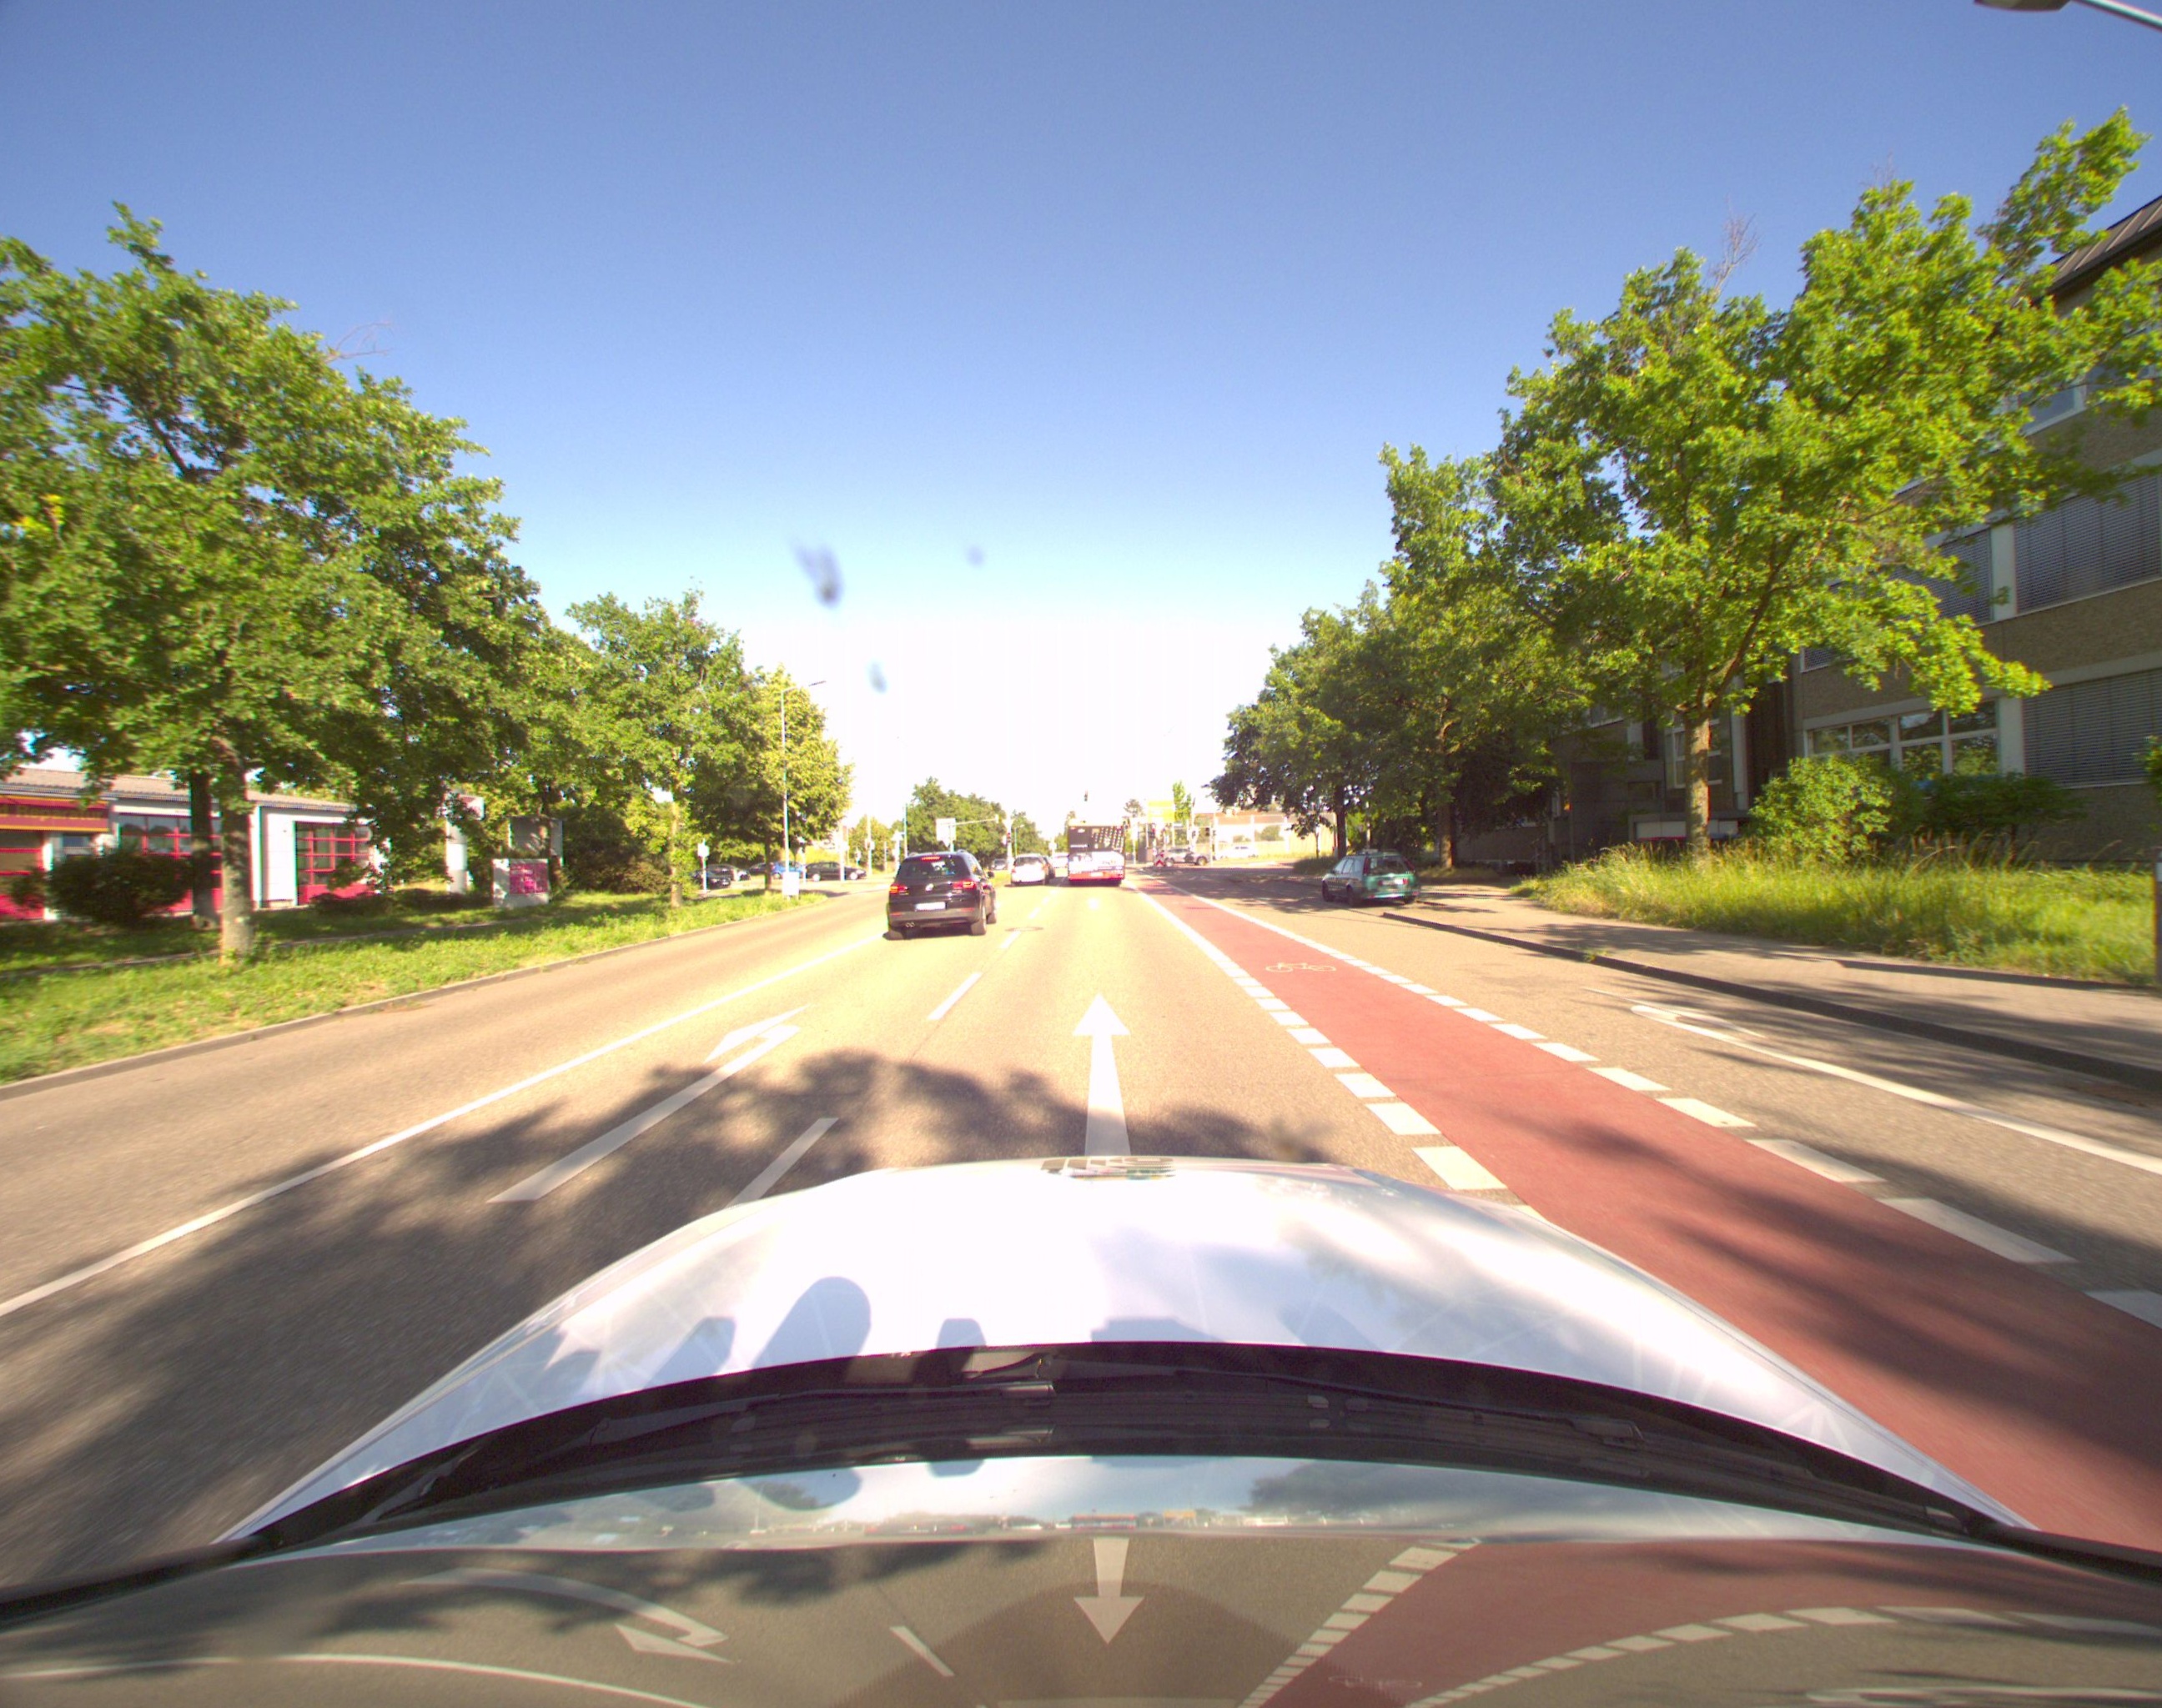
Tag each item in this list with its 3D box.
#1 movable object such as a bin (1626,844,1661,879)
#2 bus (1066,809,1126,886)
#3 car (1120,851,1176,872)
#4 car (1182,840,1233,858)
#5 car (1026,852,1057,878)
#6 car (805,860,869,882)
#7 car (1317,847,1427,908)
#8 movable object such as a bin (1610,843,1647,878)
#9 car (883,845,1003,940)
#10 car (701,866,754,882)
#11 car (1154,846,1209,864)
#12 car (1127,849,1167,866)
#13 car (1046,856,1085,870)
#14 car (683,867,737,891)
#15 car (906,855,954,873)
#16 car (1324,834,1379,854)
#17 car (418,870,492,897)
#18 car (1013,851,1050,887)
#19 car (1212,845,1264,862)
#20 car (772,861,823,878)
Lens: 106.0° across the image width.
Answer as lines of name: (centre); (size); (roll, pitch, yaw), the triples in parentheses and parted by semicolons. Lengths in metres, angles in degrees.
movable object such as a bin: (16.668, 0.224, 24.131); (0.626, 1.007, 0.576); (-1, -1, 0)
bus: (0.774, -0.302, 41.584); (2.587, 3.334, 11.985); (-1, 0, 1)
car: (4.400, 0.496, 53.313); (3.501, 1.302, 1.579); (-1, 0, 9)
car: (11.318, -0.444, 73.148); (4.213, 1.562, 1.761); (-1, -1, -4)
car: (-2.370, 0.653, 49.956); (1.582, 1.485, 3.683); (-2, -1, 1)
car: (-19.080, 1.327, 63.766); (4.454, 1.441, 1.680); (-2, 0, -4)
car: (7.896, 0.596, 22.470); (1.586, 1.428, 4.205); (-3, 0, 2)
movable object such as a bin: (16.654, 0.199, 24.772); (0.710, 1.032, 0.581); (-2, 0, 0)
car: (-2.732, 0.737, 16.960); (1.816, 1.673, 4.001); (-2, -1, -1)
car: (-30.084, 1.689, 69.334); (3.843, 1.313, 1.504); (-1, -1, -8)
car: (8.245, 0.092, 66.774); (4.213, 1.480, 1.761); (-1, -1, -4)
car: (6.925, 0.341, 85.464); (3.980, 1.612, 1.692); (-2, 0, -5)
car: (-1.580, 0.878, 81.491); (3.839, 1.340, 1.680); (-1, -1, -5)
car: (-26.131, 1.789, 57.358); (2.012, 1.403, 4.531); (-5, 0, -44)
car: (-14.270, 0.940, 76.945); (4.386, 1.683, 1.705); (-1, -1, -11)
car: (18.141, -0.657, 54.628); (3.412, 1.296, 1.449); (0, -1, -25)
car: (-46.506, 2.166, 60.584); (4.114, 1.801, 1.452); (-2, -1, -12)
car: (-2.535, 0.690, 41.141); (1.751, 1.620, 4.027); (-2, 1, -5)
car: (15.446, -0.019, 80.132); (4.691, 1.540, 1.998); (-2, 0, -3)
car: (-24.424, 1.307, 70.180); (3.843, 1.385, 1.678); (-1, -1, -8)
